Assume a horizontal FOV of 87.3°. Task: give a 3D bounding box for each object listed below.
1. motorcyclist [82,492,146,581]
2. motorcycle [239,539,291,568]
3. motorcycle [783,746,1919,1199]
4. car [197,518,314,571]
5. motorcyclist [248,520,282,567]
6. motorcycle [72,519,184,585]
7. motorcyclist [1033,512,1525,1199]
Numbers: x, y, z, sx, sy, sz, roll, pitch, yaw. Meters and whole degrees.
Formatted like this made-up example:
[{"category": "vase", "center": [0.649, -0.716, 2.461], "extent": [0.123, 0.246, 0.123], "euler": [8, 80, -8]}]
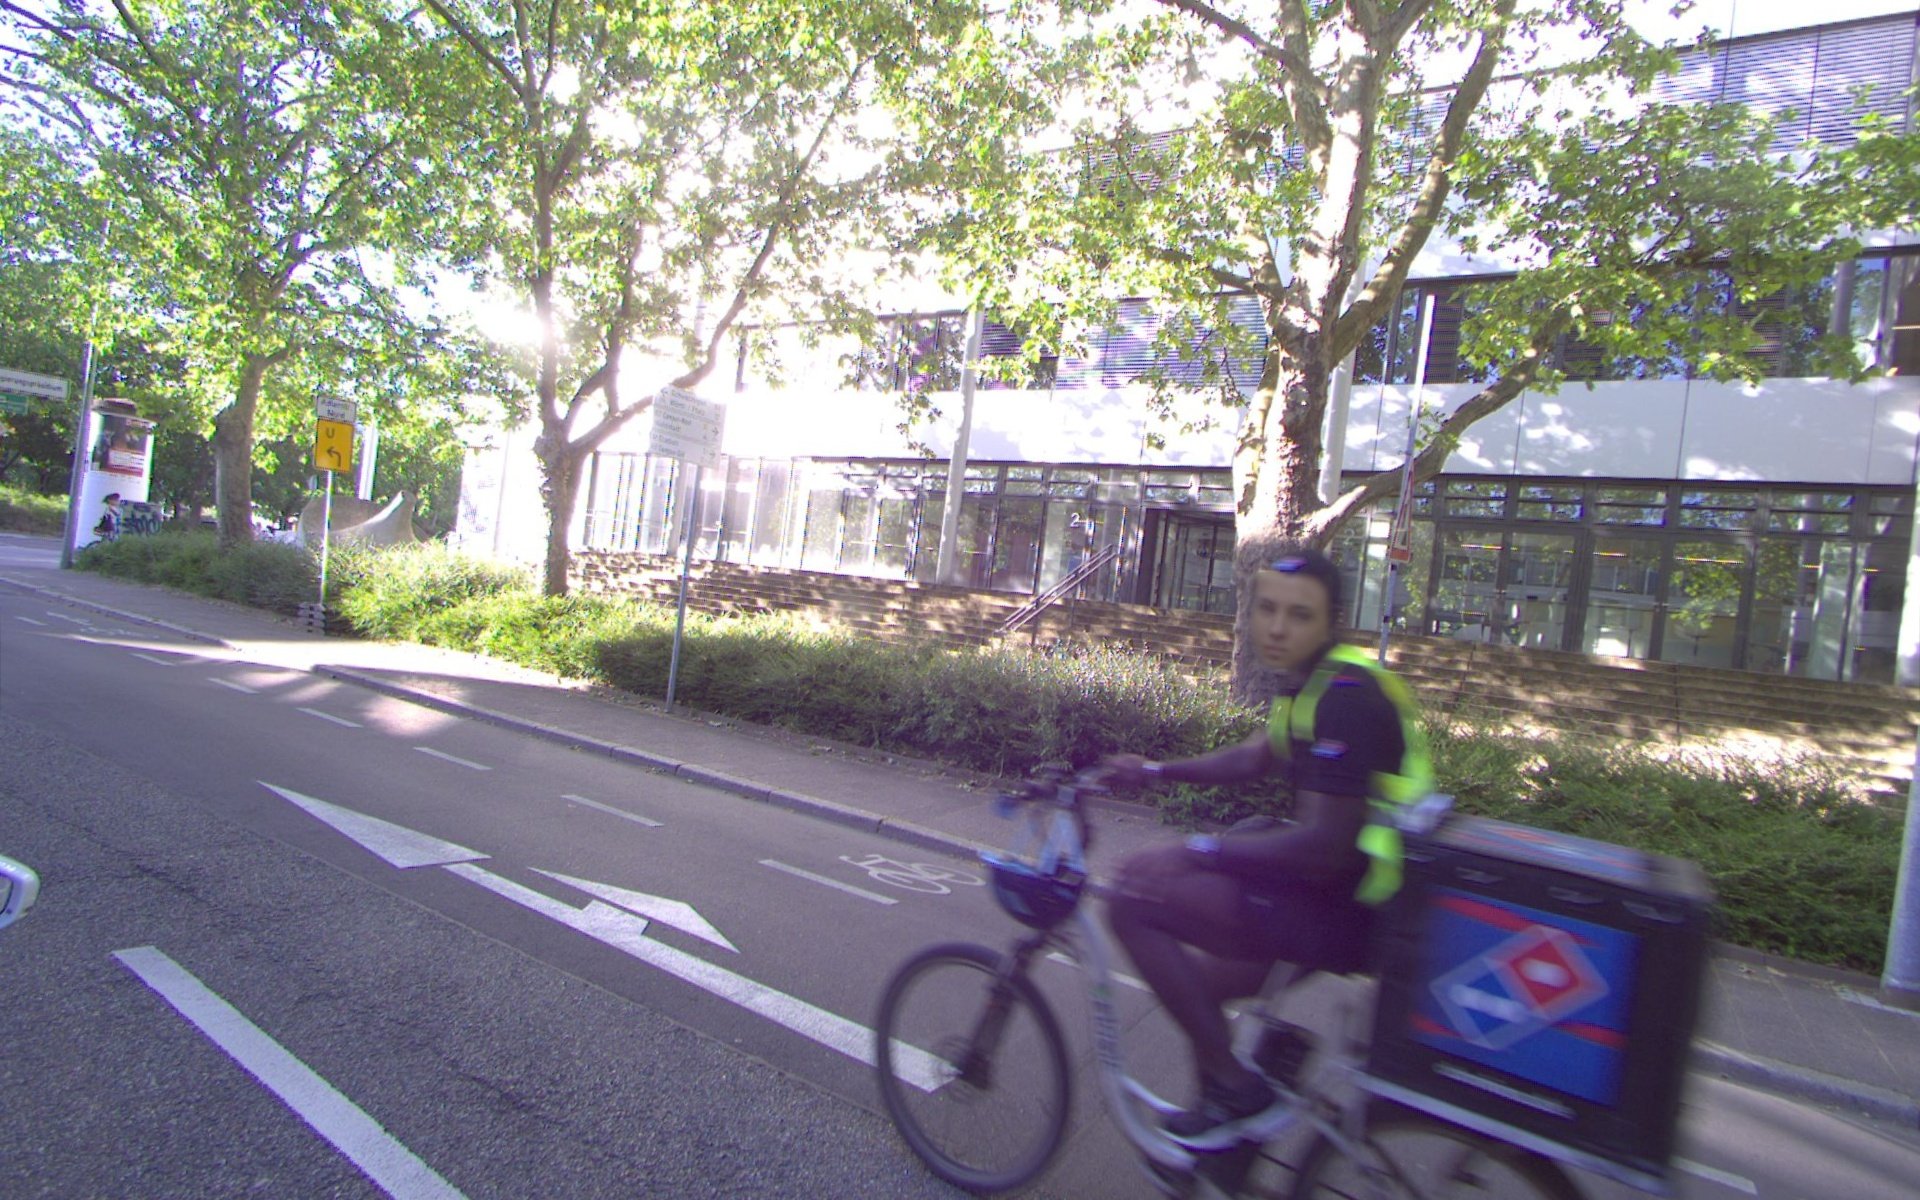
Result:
[{"category": "motorcyclist", "center": [-19.353, -1.448, 23.026], "extent": [0.662, 1.885, 0.823], "euler": [6, -1, 37]}, {"category": "motorcycle", "center": [-29.966, -1.993, 43.408], "extent": [0.409, 1.014, 1.720], "euler": [7, -1, 36]}, {"category": "motorcycle", "center": [0.767, 1.081, 2.192], "extent": [2.199, 1.145, 0.798], "euler": [6, -2, 32]}, {"category": "car", "center": [-32.701, -2.560, 46.815], "extent": [1.708, 1.792, 3.996], "euler": [7, -1, 30]}, {"category": "motorcyclist", "center": [-29.938, -2.439, 43.349], "extent": [0.370, 1.899, 0.983], "euler": [6, -1, 36]}, {"category": "motorcycle", "center": [-19.226, -1.093, 23.274], "extent": [0.712, 1.257, 1.782], "euler": [6, -2, 37]}, {"category": "motorcyclist", "center": [0.715, 0.759, 2.220], "extent": [0.738, 1.763, 0.718], "euler": [6, -1, 31]}]
